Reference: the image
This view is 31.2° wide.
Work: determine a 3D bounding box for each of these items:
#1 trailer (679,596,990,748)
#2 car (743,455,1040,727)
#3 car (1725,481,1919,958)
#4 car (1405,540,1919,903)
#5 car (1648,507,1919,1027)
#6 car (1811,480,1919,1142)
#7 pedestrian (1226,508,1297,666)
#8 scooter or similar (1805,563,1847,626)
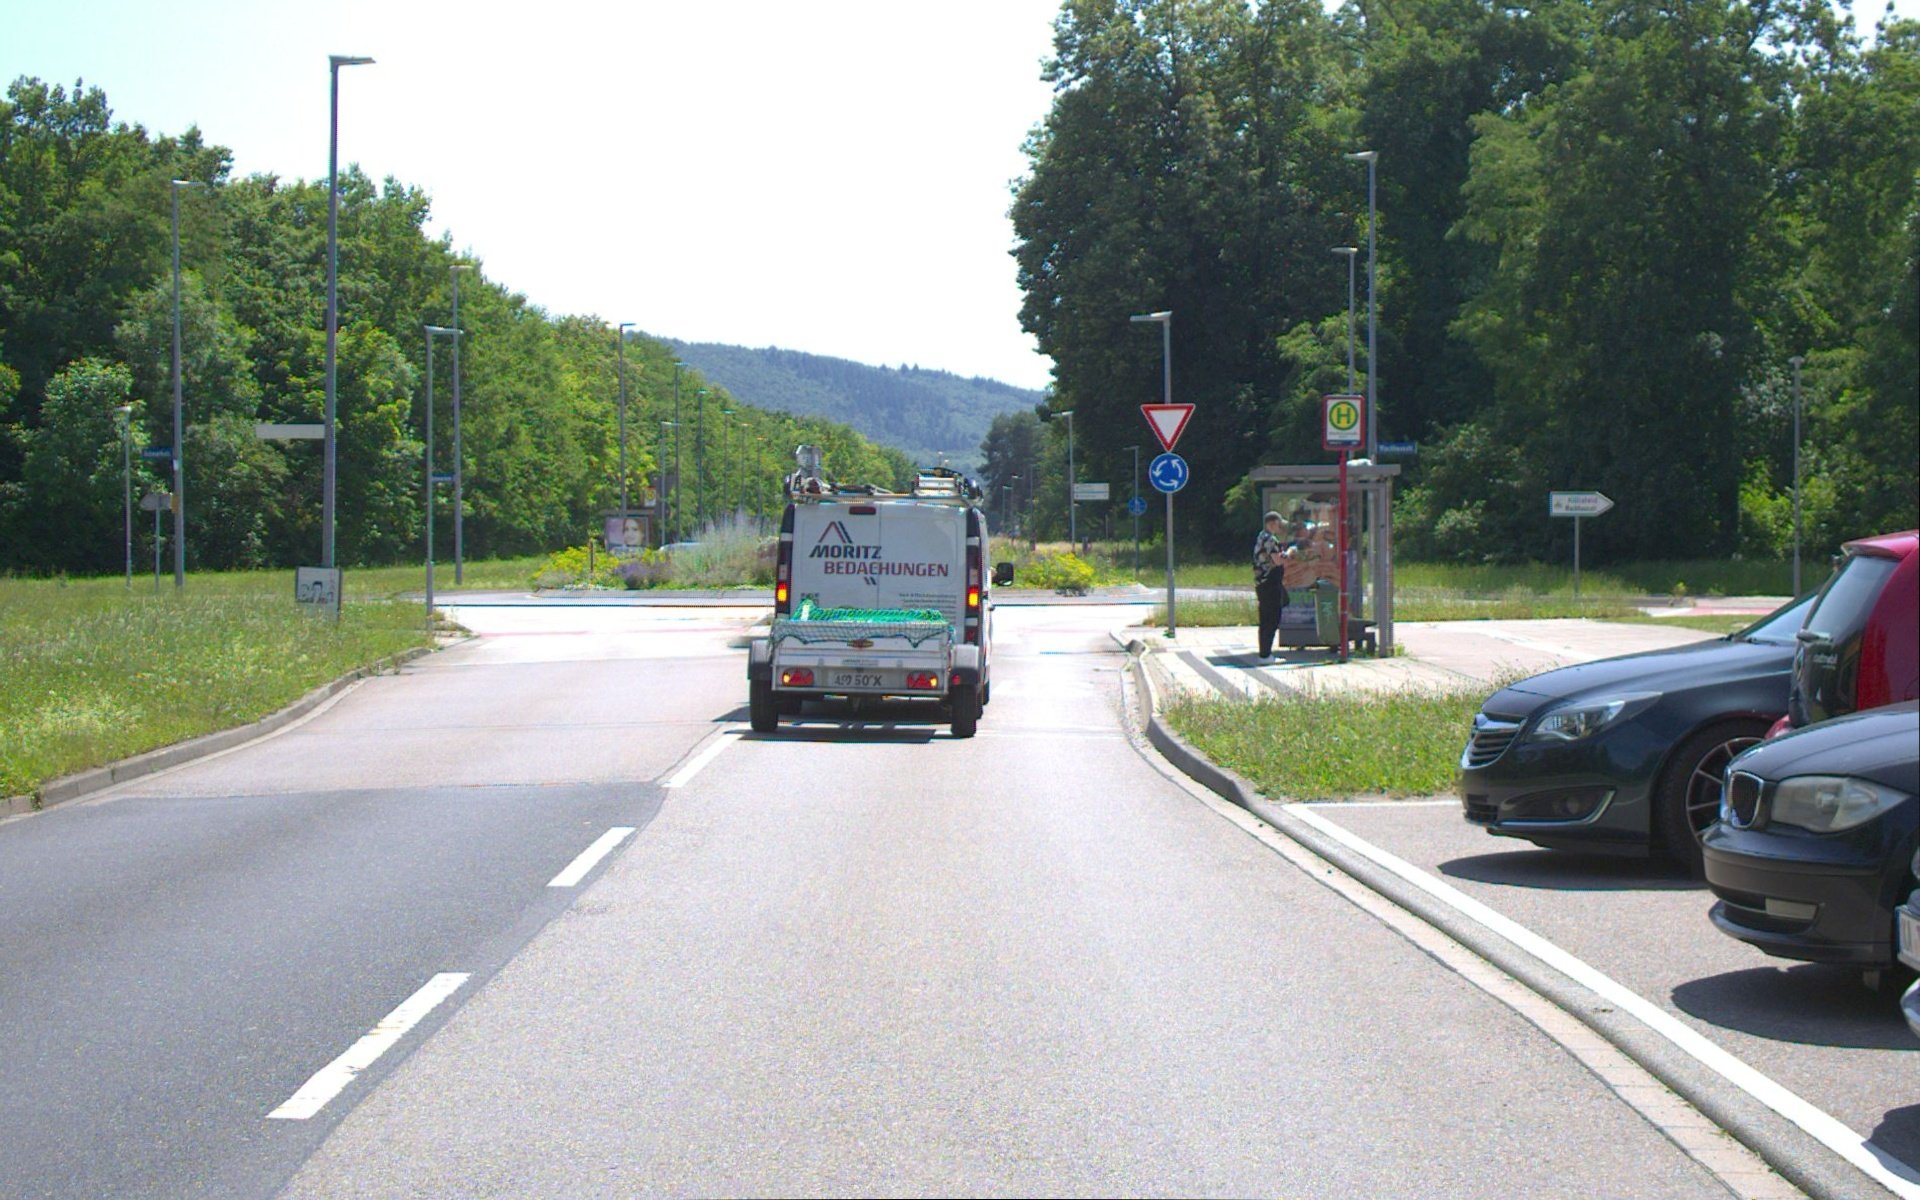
[{"bbox_3d":[-0.951,0.546,28.029,2.122,1.093,3.354,1,1,5],"label":"trailer"},{"bbox_3d":[-0.536,-0.109,32.175,2.166,2.308,4.980,1,1,6],"label":"car"},{"bbox_3d":[5.012,0.393,12.727,3.987,1.649,1.839,0,0,3],"label":"car"},{"bbox_3d":[4.384,0.449,15.100,4.567,1.427,1.827,-2,0,0],"label":"car"},{"bbox_3d":[4.176,0.442,10.582,3.808,1.481,1.655,-1,0,3],"label":"car"},{"bbox_3d":[4.407,0.447,8.157,4.321,1.558,1.786,-1,0,2],"label":"car"},{"bbox_3d":[3.536,-0.156,40.333,0.708,1.816,0.826,-2,0,1],"label":"pedestrian"},{"bbox_3d":[16.806,-0.109,66.689,0.447,1.197,1.396,1,1,28],"label":"scooter or similar"}]
